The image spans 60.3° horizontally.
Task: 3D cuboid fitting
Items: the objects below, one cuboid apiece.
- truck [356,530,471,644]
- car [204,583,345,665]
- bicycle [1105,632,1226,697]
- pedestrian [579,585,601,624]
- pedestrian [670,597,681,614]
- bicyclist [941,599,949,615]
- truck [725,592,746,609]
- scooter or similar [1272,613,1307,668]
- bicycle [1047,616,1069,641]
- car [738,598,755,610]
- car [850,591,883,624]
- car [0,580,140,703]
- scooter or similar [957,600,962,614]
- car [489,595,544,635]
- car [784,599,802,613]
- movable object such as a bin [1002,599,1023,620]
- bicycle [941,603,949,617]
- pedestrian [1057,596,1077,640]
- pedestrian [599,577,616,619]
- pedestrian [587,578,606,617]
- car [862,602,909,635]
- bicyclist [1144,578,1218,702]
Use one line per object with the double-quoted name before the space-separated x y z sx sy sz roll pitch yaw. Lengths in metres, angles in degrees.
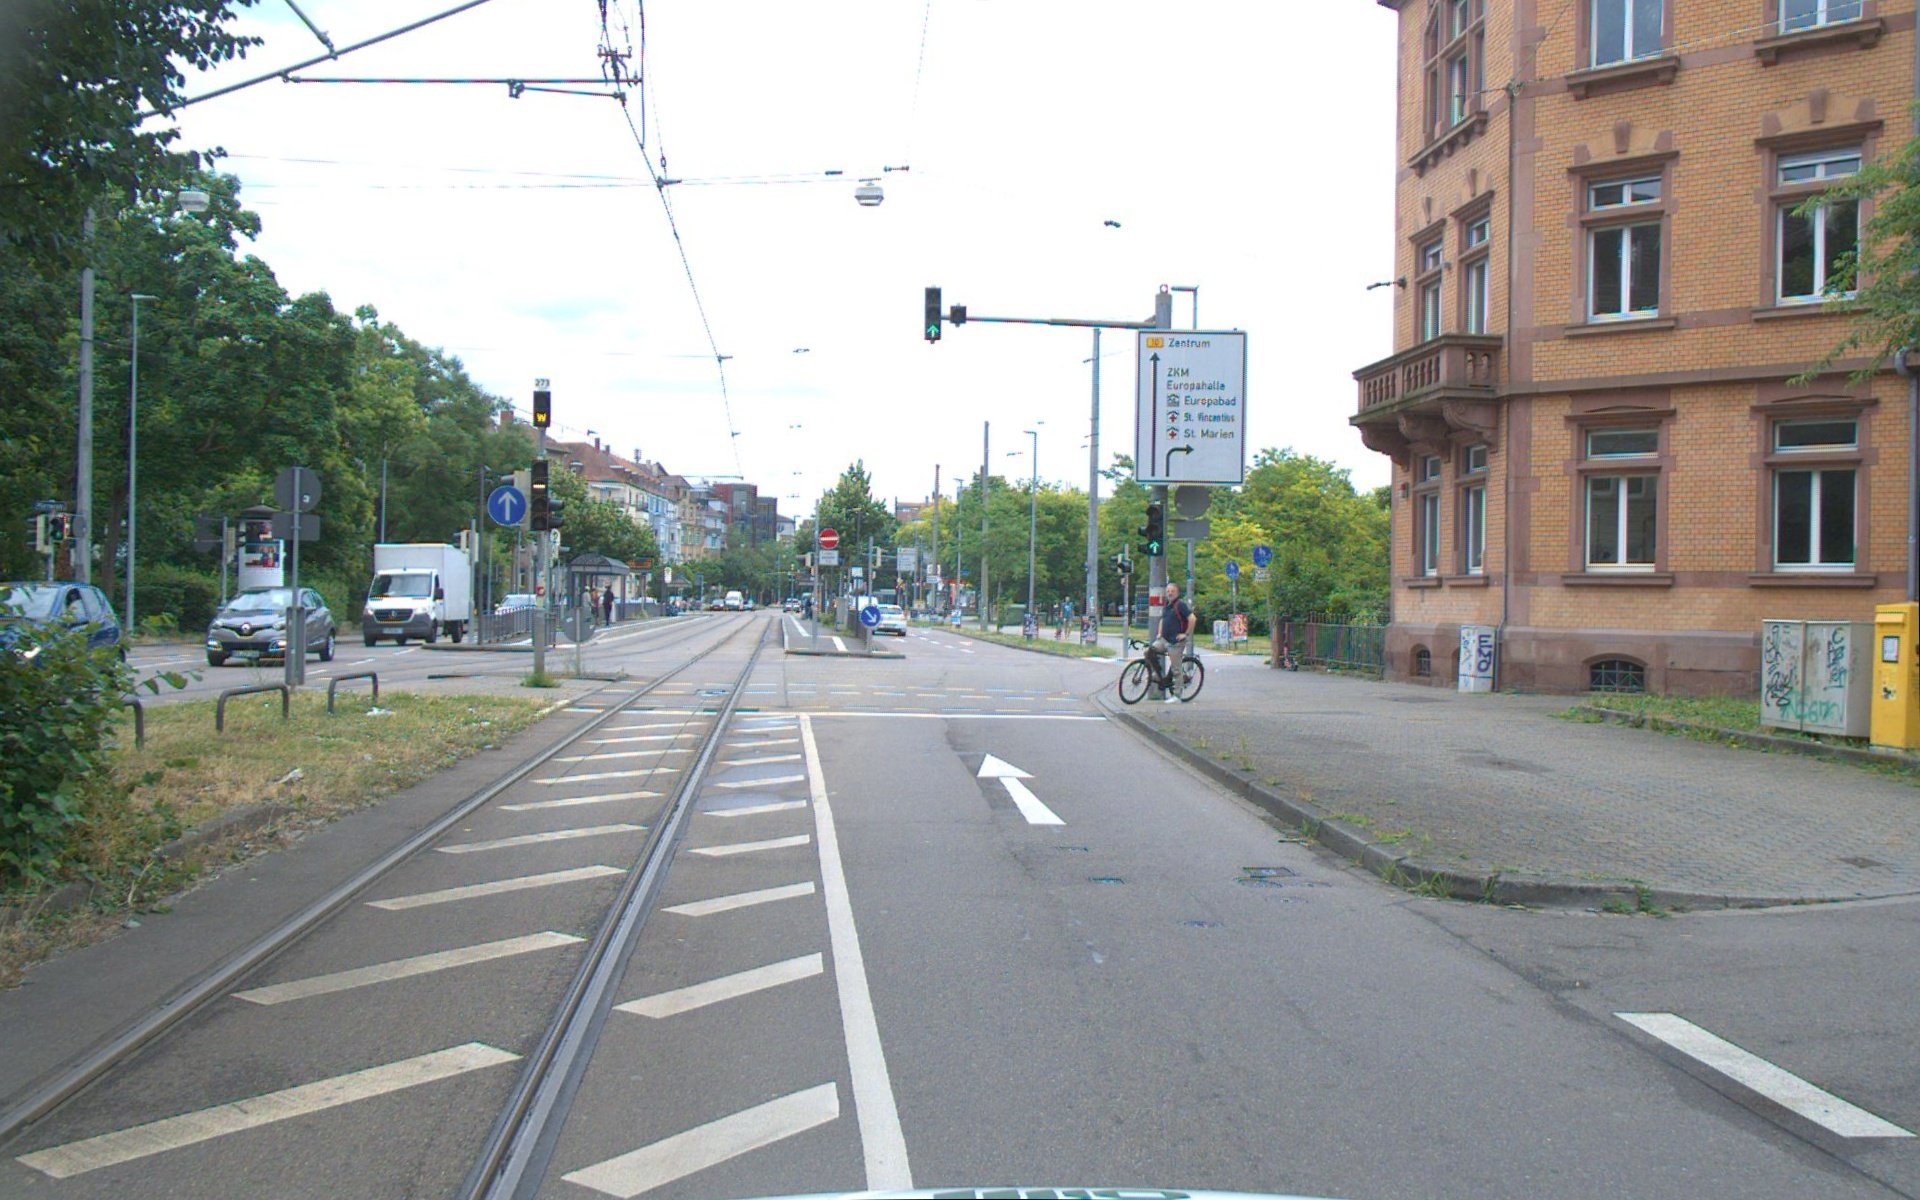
"truck" -16.547 -0.349 50.495 2.144 3.212 7.315 1 0 -9
"car" -13.930 0.474 33.839 1.613 1.561 4.125 1 0 -8
"bicycle" 3.157 0.972 25.344 1.849 0.940 0.785 1 0 -39
"pedestrian" -15.778 0.210 70.486 0.666 1.652 0.632 0 0 35
"pedestrian" -21.744 0.413 126.398 0.848 1.289 0.692 0 0 -9
"bicyclist" -1.383 0.647 150.644 0.665 1.404 0.727 0 0 0
"truck" -27.686 0.028 204.248 1.751 2.068 5.395 1 0 0
"scooter or similar" 7.183 0.874 36.114 0.369 1.161 1.197 0 0 -9
"bicycle" 4.280 1.242 72.256 0.642 1.020 1.777 1 0 -6
"car" -28.333 0.511 219.579 1.734 1.519 3.886 1 0 0
"car" -5.829 0.458 103.060 1.748 1.997 4.376 1 0 -7
"car" -12.769 0.529 22.757 1.613 1.561 3.622 1 0 -9
"scooter or similar" -0.029 0.563 137.178 0.368 1.161 1.200 0 0 5
"car" -19.308 0.630 72.149 1.737 1.668 4.529 1 0 -8
"car" -19.198 0.695 190.131 1.735 1.519 3.885 1 0 -3
"movable object such as a bin" 3.538 0.657 111.229 1.257 1.414 1.158 1 -1 -6
"bicycle" -1.371 0.900 150.636 0.665 1.175 1.898 0 0 0
"pedestrian" 4.678 0.772 72.241 0.725 1.902 0.681 0 0 -8
"pedestrian" -14.884 -0.078 69.819 0.688 1.745 0.696 0 0 -15
"pedestrian" -16.149 -0.116 73.470 0.754 1.689 1.023 0 0 -9
"car" -3.599 0.864 79.131 1.750 1.498 4.001 1 0 -10
"bicyclist" 3.351 0.594 25.100 0.675 1.826 0.879 1 0 -38
